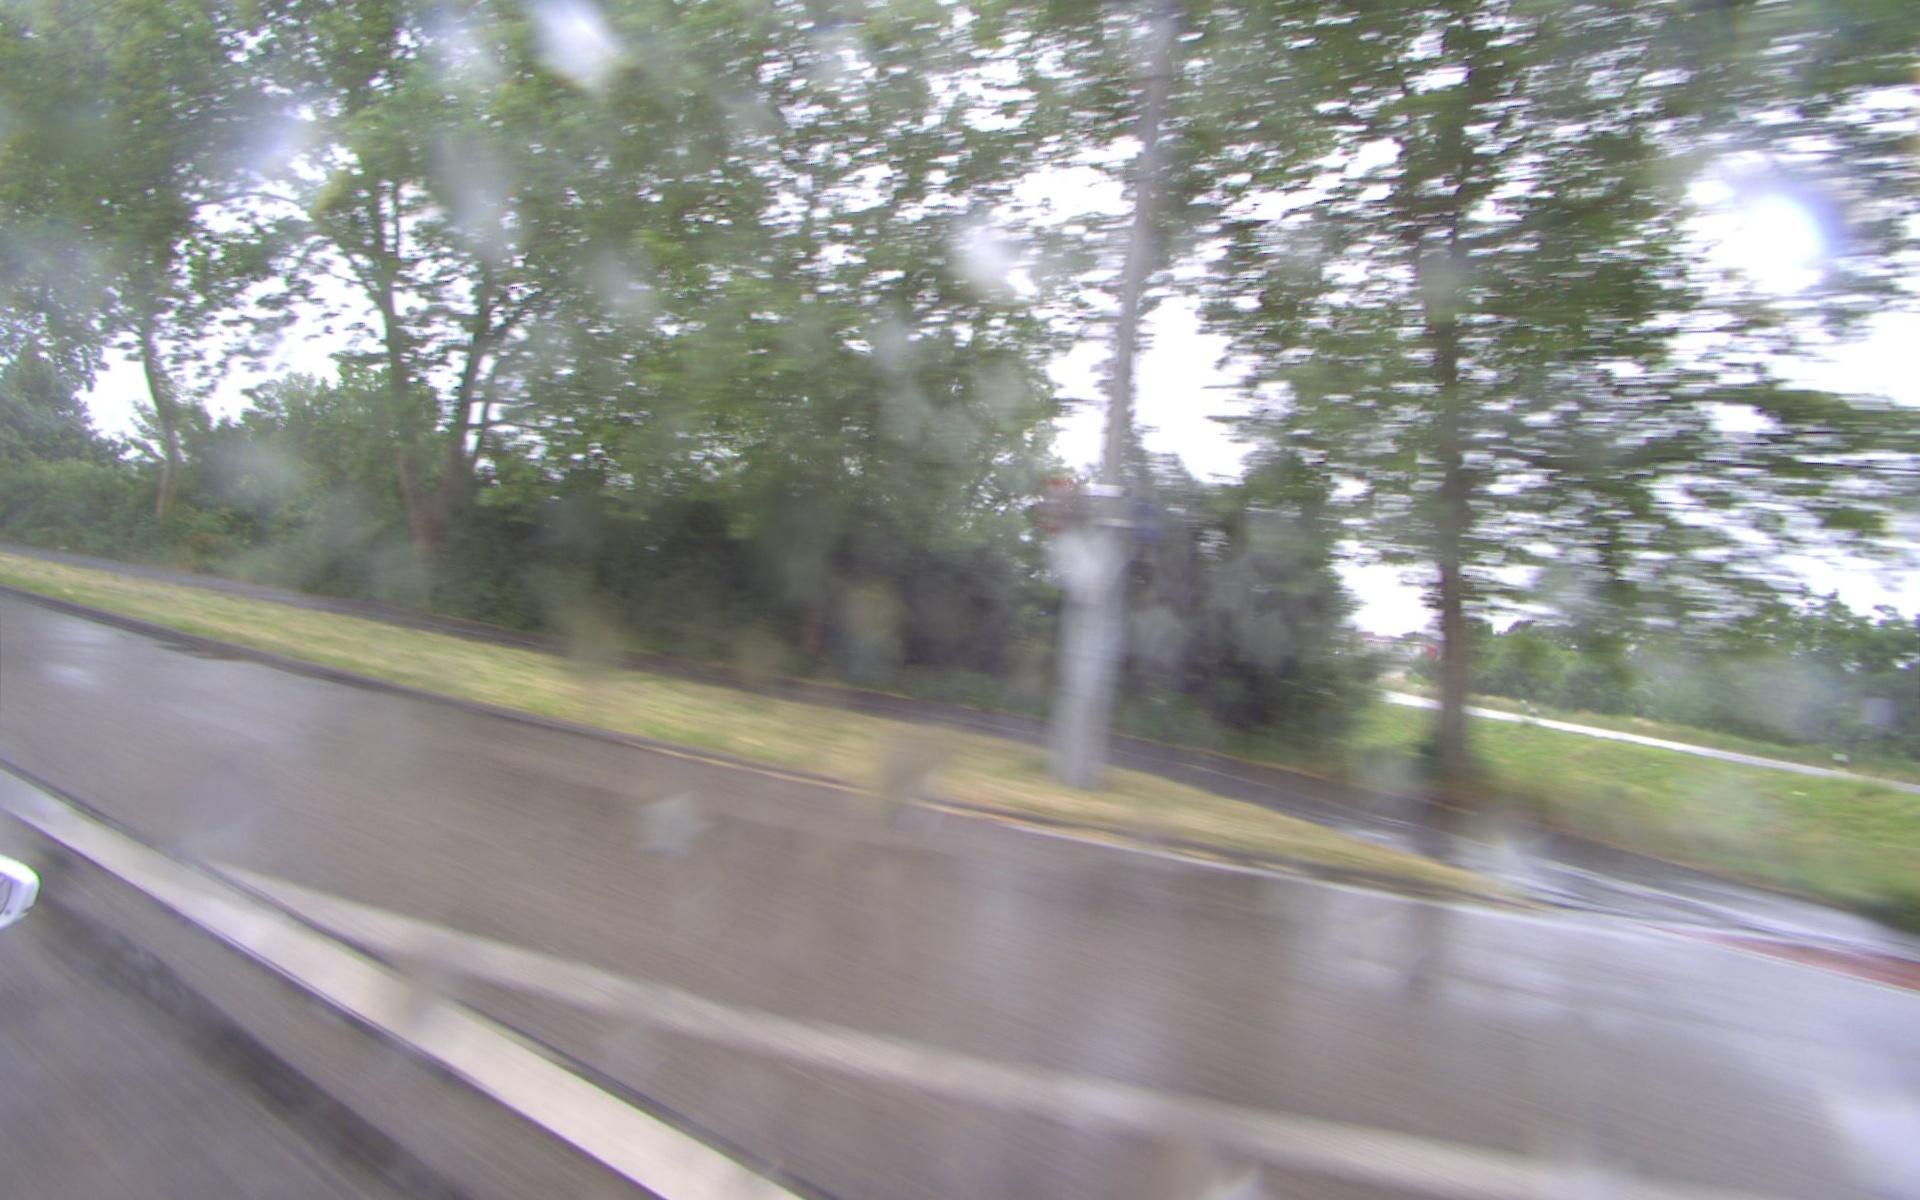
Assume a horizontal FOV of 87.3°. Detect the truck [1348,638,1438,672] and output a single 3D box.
[{"bbox_3d":[68.434,8.687,158.719,16.572,4.212,3.267,5,1,-28],"label":"truck"}]
